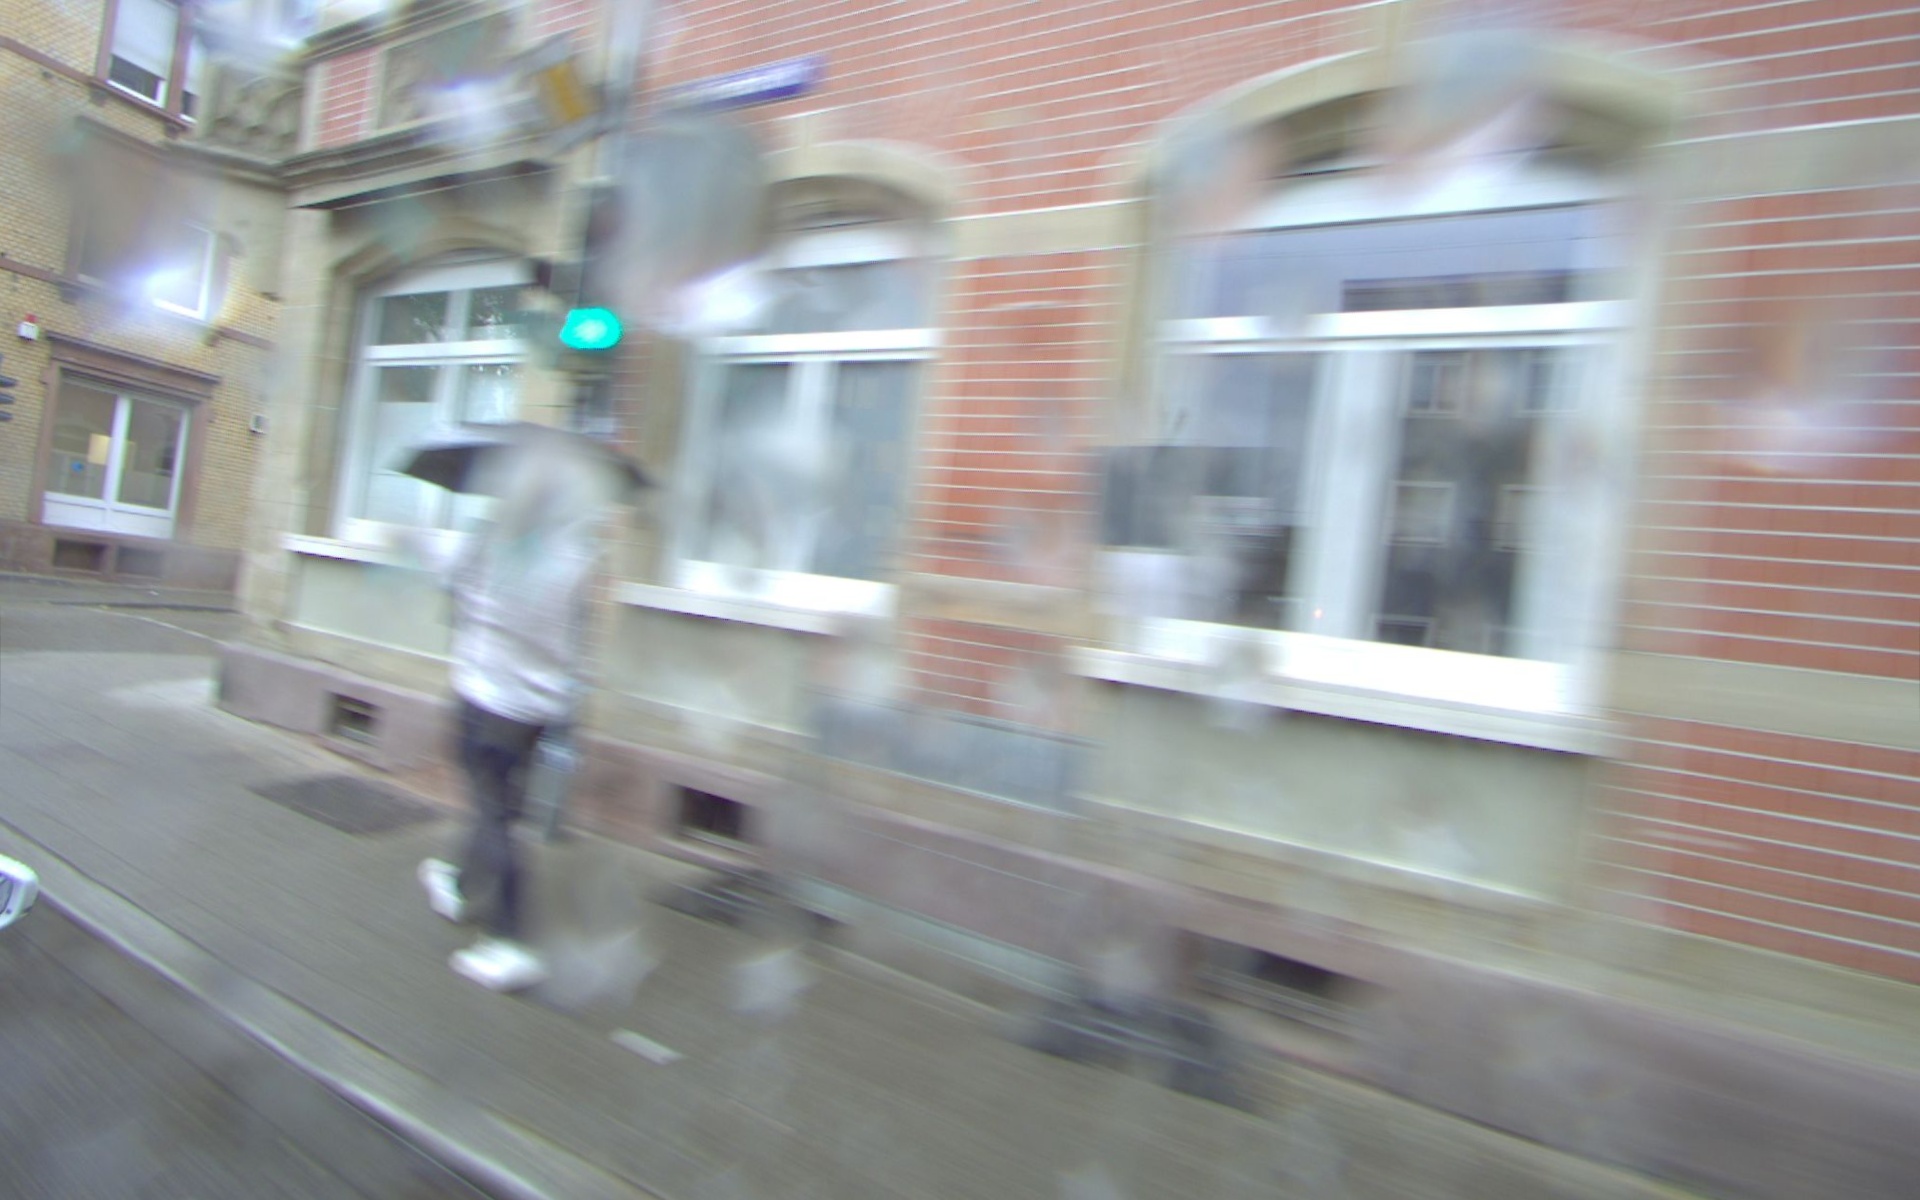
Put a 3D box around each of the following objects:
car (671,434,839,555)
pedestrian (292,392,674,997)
[{"bbox_3d":[-5.884,-3.003,29.510,2.085,2.540,4.746,7,-2,27],"label":"car"},{"bbox_3d":[-1.772,0.282,3.767,0.914,1.939,0.785,7,2,31],"label":"pedestrian"}]
